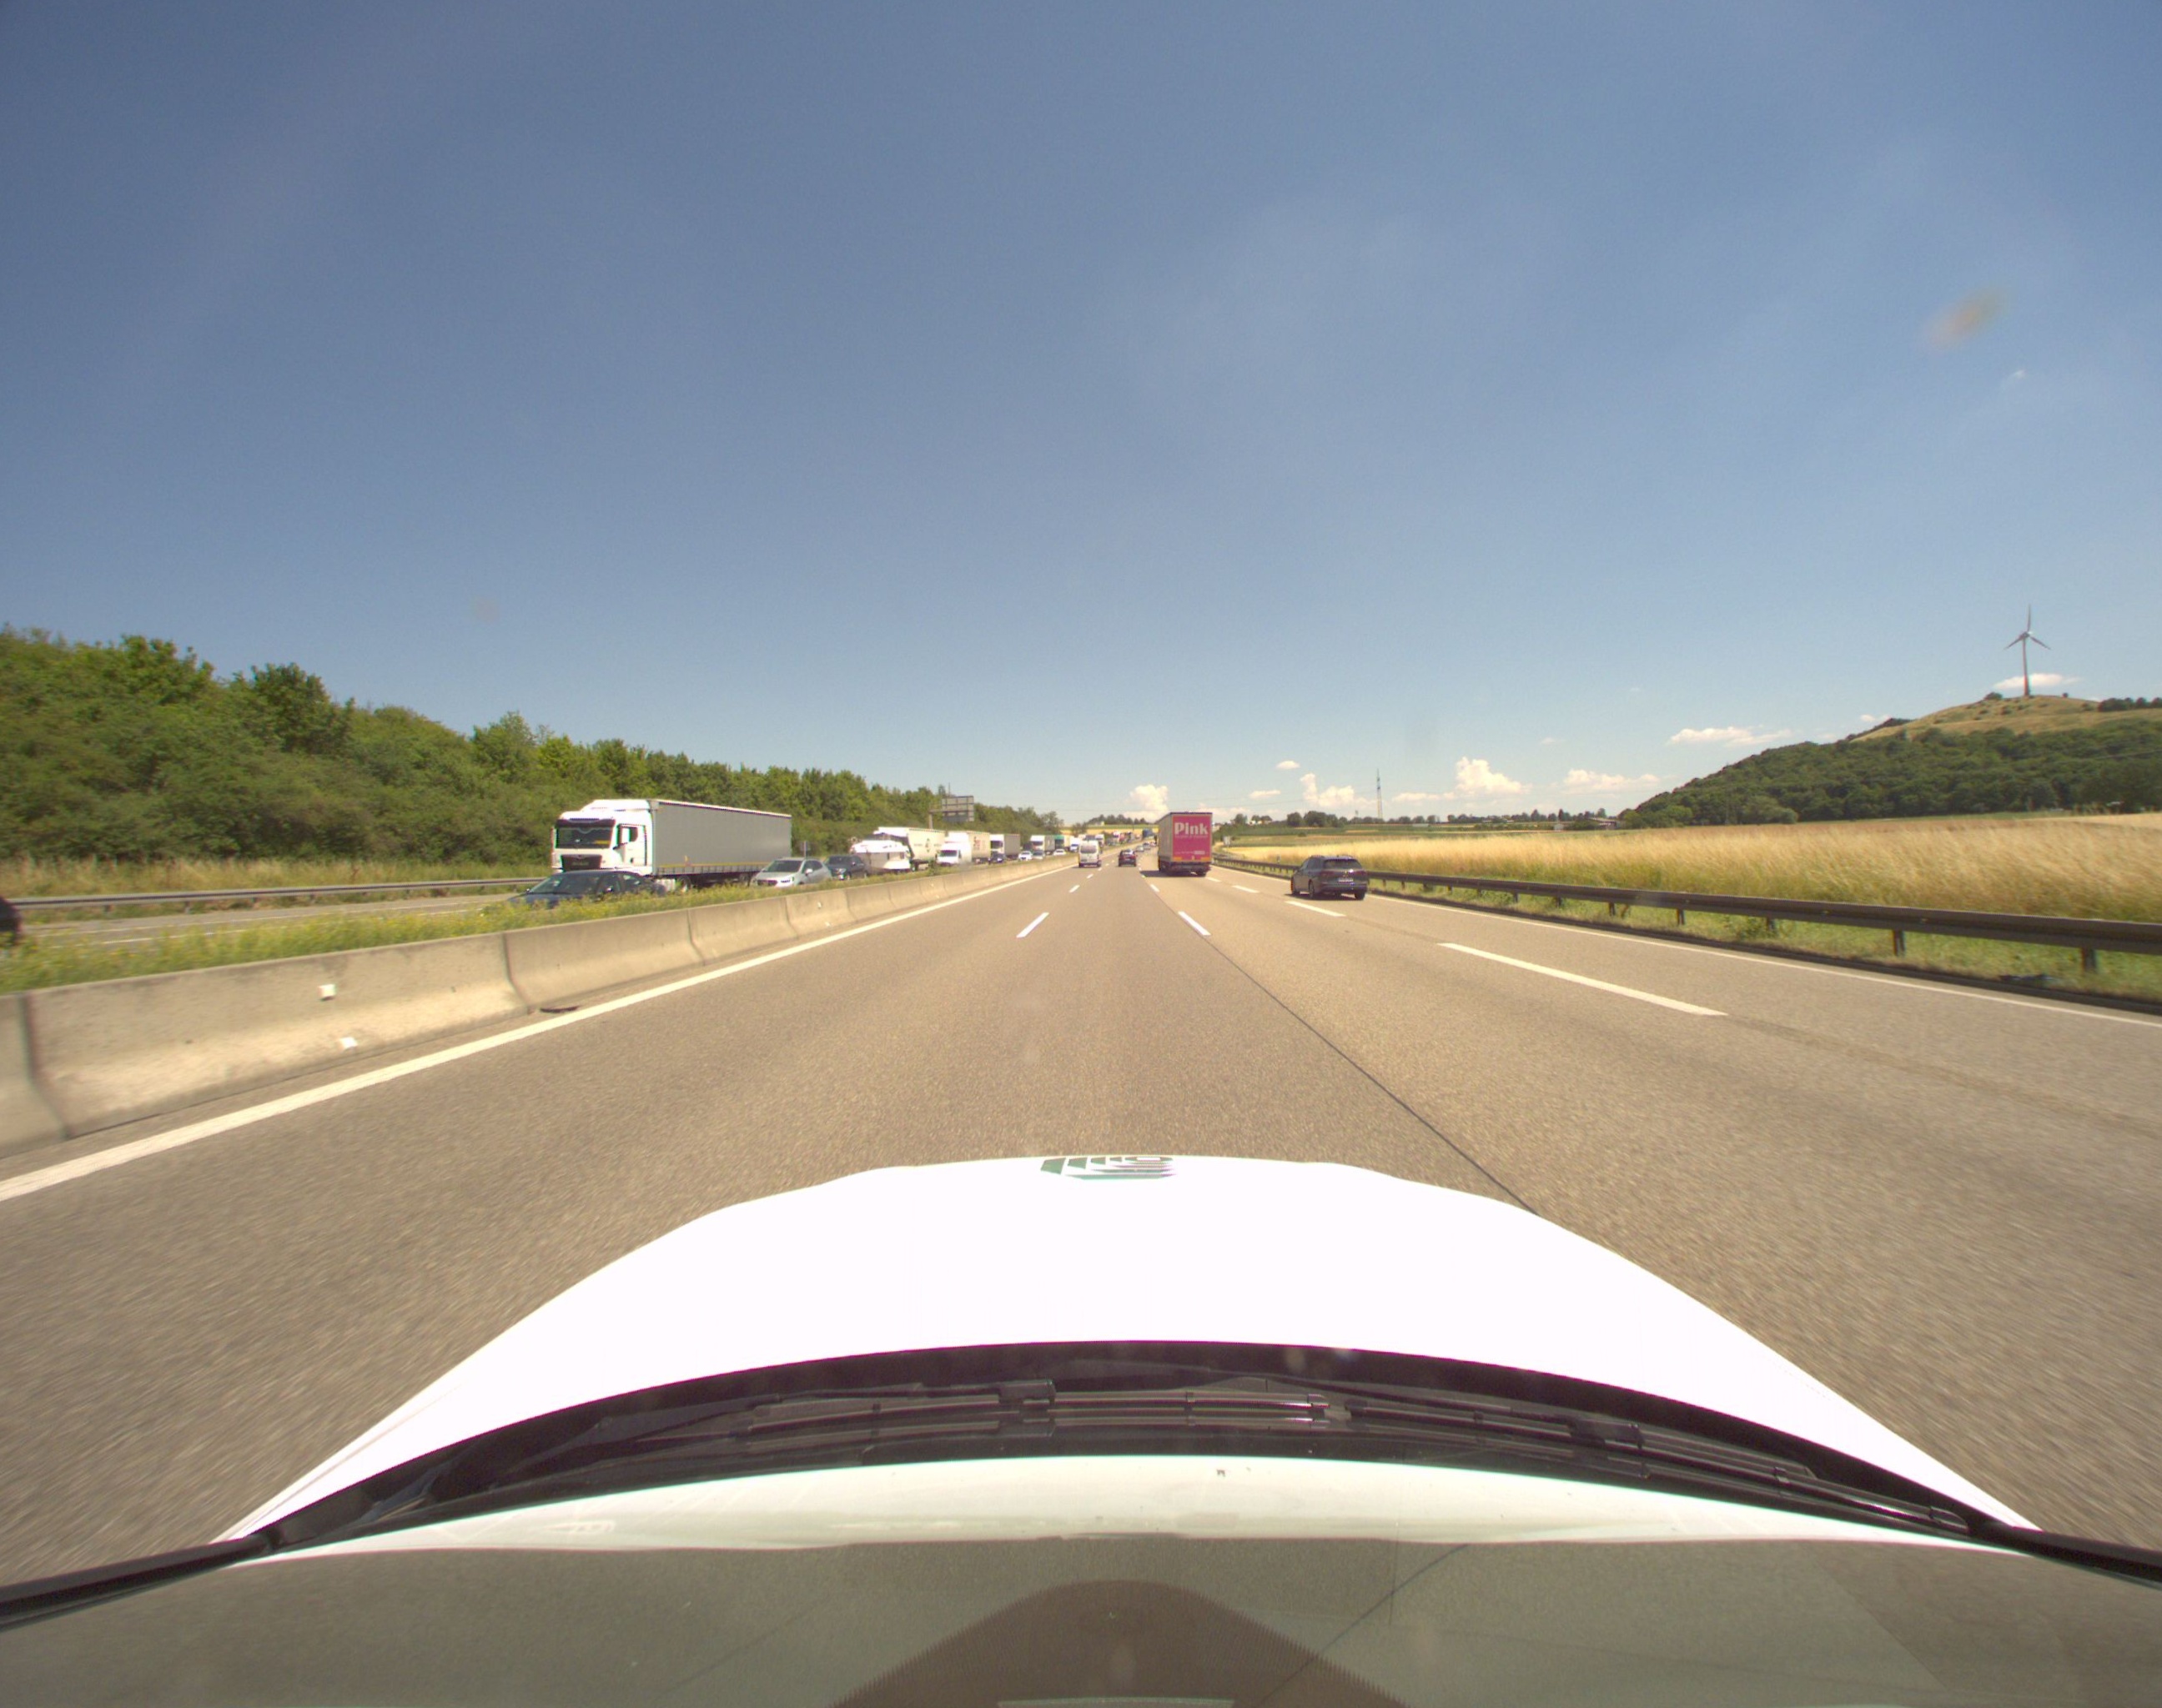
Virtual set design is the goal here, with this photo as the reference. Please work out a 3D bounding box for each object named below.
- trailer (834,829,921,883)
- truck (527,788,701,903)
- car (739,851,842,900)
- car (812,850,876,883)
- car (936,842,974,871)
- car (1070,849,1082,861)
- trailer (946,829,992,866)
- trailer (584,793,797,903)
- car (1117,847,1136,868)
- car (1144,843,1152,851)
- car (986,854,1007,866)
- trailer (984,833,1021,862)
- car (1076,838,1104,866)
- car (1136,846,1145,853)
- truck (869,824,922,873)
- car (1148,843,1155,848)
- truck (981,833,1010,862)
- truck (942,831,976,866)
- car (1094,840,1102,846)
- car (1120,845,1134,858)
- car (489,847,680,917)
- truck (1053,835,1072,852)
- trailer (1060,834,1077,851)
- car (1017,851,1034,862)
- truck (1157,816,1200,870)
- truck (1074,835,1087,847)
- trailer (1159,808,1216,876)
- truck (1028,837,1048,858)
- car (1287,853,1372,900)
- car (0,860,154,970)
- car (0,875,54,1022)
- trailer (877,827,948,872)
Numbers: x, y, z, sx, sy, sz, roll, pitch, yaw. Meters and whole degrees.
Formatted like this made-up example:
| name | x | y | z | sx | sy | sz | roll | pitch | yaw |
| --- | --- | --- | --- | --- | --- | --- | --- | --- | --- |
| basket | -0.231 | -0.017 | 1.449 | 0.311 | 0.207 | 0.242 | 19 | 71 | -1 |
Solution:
| name | x | y | z | sx | sy | sz | roll | pitch | yaw |
| --- | --- | --- | --- | --- | --- | --- | --- | --- | --- |
| trailer | -13.186 | 0.157 | 53.918 | 2.859 | 3.183 | 10.730 | 0 | -1 | 1 |
| truck | -18.571 | -0.313 | 32.923 | 3.186 | 4.132 | 6.187 | -1 | 0 | 2 |
| car | -10.754 | 0.754 | 30.555 | 1.832 | 1.677 | 4.449 | -1 | 0 | 6 |
| car | -13.354 | 0.670 | 46.211 | 2.099 | 1.723 | 4.932 | -1 | 0 | 1 |
| car | -11.792 | 0.192 | 76.768 | 1.889 | 2.574 | 7.580 | -1 | 0 | 4 |
| car | -1.198 | 0.285 | 189.394 | 2.129 | 2.786 | 6.634 | 0 | -1 | 5 |
| trailer | -13.892 | -0.865 | 102.613 | 2.798 | 4.278 | 13.885 | 0 | 1 | 4 |
| trailer | -18.325 | -0.275 | 40.087 | 3.209 | 4.421 | 13.789 | -1 | 0 | 3 |
| car | 4.539 | 0.333 | 81.337 | 1.839 | 1.860 | 4.211 | -1 | 3 | 3 |
| car | 17.068 | -1.868 | 207.475 | 1.984 | 1.904 | 4.006 | -1 | 0 | 5 |
| car | -10.463 | 0.710 | 101.433 | 1.868 | 1.434 | 4.929 | 0 | 0 | 3 |
| trailer | -11.924 | -0.980 | 125.390 | 2.968 | 4.206 | 14.213 | 0 | 0 | 5 |
| car | 0.930 | -0.140 | 78.910 | 2.168 | 2.625 | 4.681 | 0 | -1 | 7 |
| car | 13.352 | -1.055 | 182.109 | 1.985 | 1.585 | 4.003 | -1 | 0 | 3 |
| truck | -16.118 | -0.467 | 71.035 | 2.835 | 4.006 | 5.981 | -1 | 0 | 4 |
| car | 21.148 | -2.579 | 242.847 | 1.984 | 1.310 | 4.006 | -1 | 2 | 4 |
| truck | -12.472 | -0.921 | 119.274 | 2.947 | 4.209 | 6.615 | 0 | 0 | 6 |
| truck | -14.343 | -0.680 | 96.061 | 2.743 | 4.042 | 6.105 | 0 | 0 | 3 |
| car | 4.918 | -3.245 | 236.282 | 1.852 | 1.641 | 5.122 | -1 | -1 | 6 |
| car | 6.828 | -0.351 | 120.227 | 1.984 | 1.750 | 4.005 | 0 | -1 | 4 |
| car | -11.990 | 0.624 | 20.073 | 1.987 | 1.520 | 4.308 | -1 | 0 | 1 |
| truck | -4.364 | -2.681 | 195.773 | 2.827 | 3.898 | 11.271 | -2 | 1 | 7 |
| trailer | -3.052 | -2.911 | 205.044 | 2.904 | 4.071 | 8.249 | -2 | 1 | 8 |
| car | -8.093 | 0.399 | 119.937 | 1.873 | 1.474 | 4.411 | -1 | 0 | 4 |
| truck | 7.481 | -0.870 | 63.296 | 2.904 | 4.008 | 6.516 | 0 | 1 | 3 |
| truck | -0.063 | -3.521 | 224.023 | 2.525 | 3.207 | 7.605 | -1 | 1 | 7 |
| trailer | 7.135 | -0.863 | 56.454 | 2.906 | 4.117 | 13.871 | 0 | 1 | 3 |
| truck | -8.429 | -1.350 | 160.940 | 2.839 | 4.036 | 6.615 | -1 | 1 | 6 |
| car | 8.396 | 0.734 | 27.897 | 1.753 | 1.471 | 4.540 | 0 | -1 | 3 |
| car | -16.136 | 0.874 | 11.053 | 1.984 | 1.520 | 4.314 | -1 | 0 | 5 |
| car | -11.792 | 0.961 | 6.132 | 1.987 | 1.445 | 4.793 | -1 | 0 | 1 |
| trailer | -15.698 | -0.415 | 77.447 | 2.890 | 3.873 | 13.892 | -1 | 0 | 4 |
